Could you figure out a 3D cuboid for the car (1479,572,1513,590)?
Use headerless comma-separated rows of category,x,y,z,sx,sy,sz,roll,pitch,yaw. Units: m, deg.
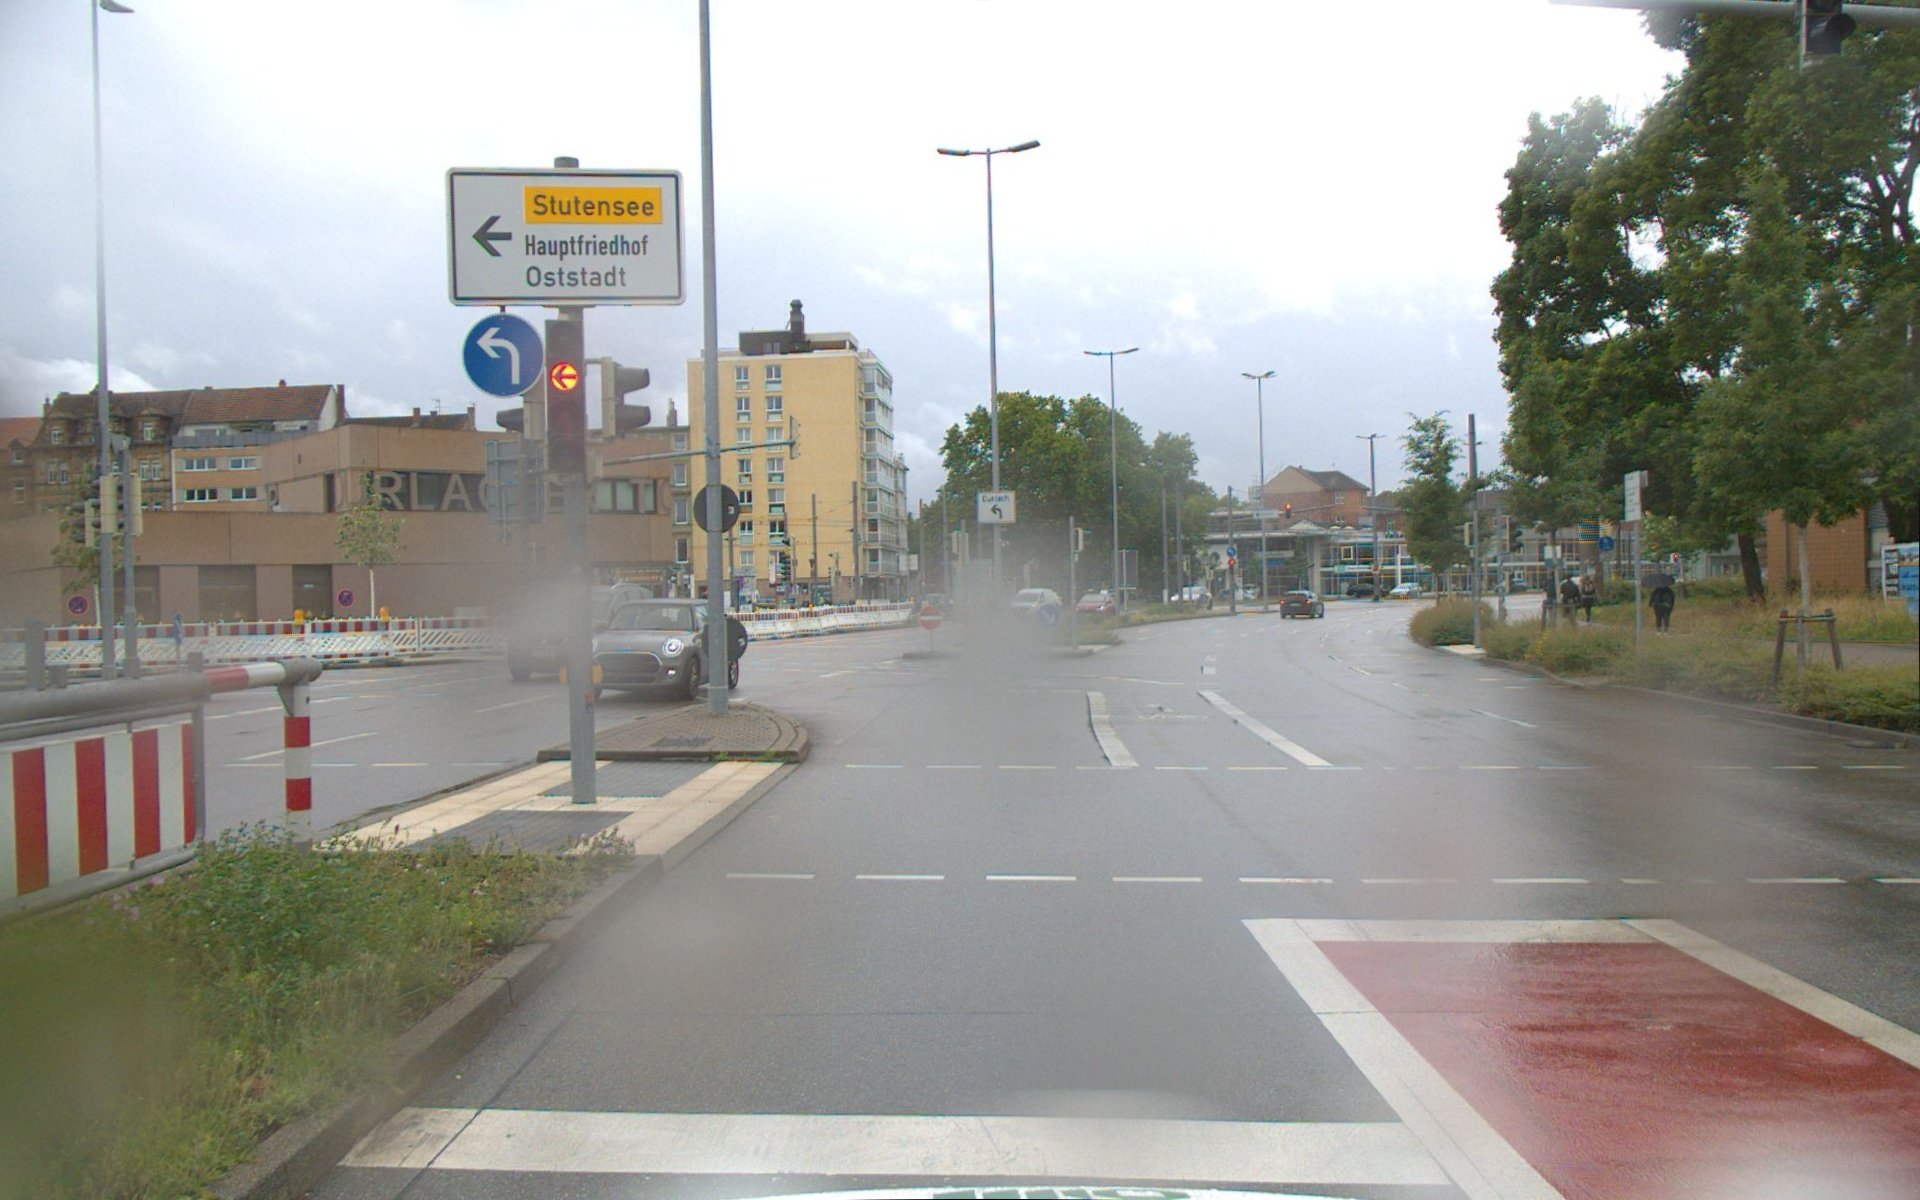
car,55.369,-1.964,170.767,1.765,1.672,4.133,-1,0,43

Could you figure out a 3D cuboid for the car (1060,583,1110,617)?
car,6.485,0.001,85.424,1.752,1.672,4.049,-1,0,16

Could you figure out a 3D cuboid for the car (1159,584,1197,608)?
car,15.600,-0.287,118.258,1.753,1.672,4.160,-1,0,21

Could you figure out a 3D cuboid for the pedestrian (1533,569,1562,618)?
pedestrian,19.894,-0.222,56.059,0.737,1.615,0.937,-1,0,9

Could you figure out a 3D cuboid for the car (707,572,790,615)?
car,-18.010,-0.534,141.189,6.601,3.439,2.810,-2,0,2

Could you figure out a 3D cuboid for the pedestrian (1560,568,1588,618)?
pedestrian,20.564,-0.237,55.417,0.688,1.615,0.937,-1,0,9

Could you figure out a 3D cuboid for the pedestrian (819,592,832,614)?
pedestrian,-11.803,0.261,144.846,1.071,1.845,1.117,-2,0,-5

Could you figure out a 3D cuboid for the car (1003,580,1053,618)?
car,3.639,-0.067,87.506,1.752,1.890,4.163,-1,0,15

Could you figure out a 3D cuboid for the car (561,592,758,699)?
car,-4.520,0.637,25.527,1.734,1.400,4.124,-1,2,8

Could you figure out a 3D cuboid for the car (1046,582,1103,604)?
car,9.229,-0.556,133.470,4.297,1.672,1.794,-1,0,-6

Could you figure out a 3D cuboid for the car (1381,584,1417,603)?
car,42.312,-0.647,159.359,1.763,1.672,4.136,-1,0,41

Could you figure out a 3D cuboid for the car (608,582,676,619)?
car,-27.192,0.020,141.682,5.239,2.937,2.340,-2,0,2

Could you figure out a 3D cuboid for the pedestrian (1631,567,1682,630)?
pedestrian,18.090,-0.041,42.977,1.000,1.615,0.937,-1,0,9

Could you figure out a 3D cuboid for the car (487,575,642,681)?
car,-7.390,0.452,31.402,1.736,1.707,4.768,-4,1,-1

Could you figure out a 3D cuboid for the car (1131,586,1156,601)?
car,21.259,-0.764,191.296,1.753,1.672,4.159,-1,0,23

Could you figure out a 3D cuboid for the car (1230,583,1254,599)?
car,31.943,-1.043,186.995,1.753,1.672,4.159,-1,0,23

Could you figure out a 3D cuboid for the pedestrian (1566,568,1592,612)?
pedestrian,22.880,-0.377,61.113,0.688,1.615,0.937,-1,0,9

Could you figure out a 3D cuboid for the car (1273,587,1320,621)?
car,17.726,0.199,87.087,1.753,1.672,4.160,-1,0,21

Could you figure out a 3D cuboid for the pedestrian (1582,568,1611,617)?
pedestrian,21.313,-0.260,55.373,0.688,1.615,0.937,-1,0,9

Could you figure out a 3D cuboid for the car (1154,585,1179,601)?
car,23.781,-0.824,190.346,1.753,1.672,4.159,-1,0,23
